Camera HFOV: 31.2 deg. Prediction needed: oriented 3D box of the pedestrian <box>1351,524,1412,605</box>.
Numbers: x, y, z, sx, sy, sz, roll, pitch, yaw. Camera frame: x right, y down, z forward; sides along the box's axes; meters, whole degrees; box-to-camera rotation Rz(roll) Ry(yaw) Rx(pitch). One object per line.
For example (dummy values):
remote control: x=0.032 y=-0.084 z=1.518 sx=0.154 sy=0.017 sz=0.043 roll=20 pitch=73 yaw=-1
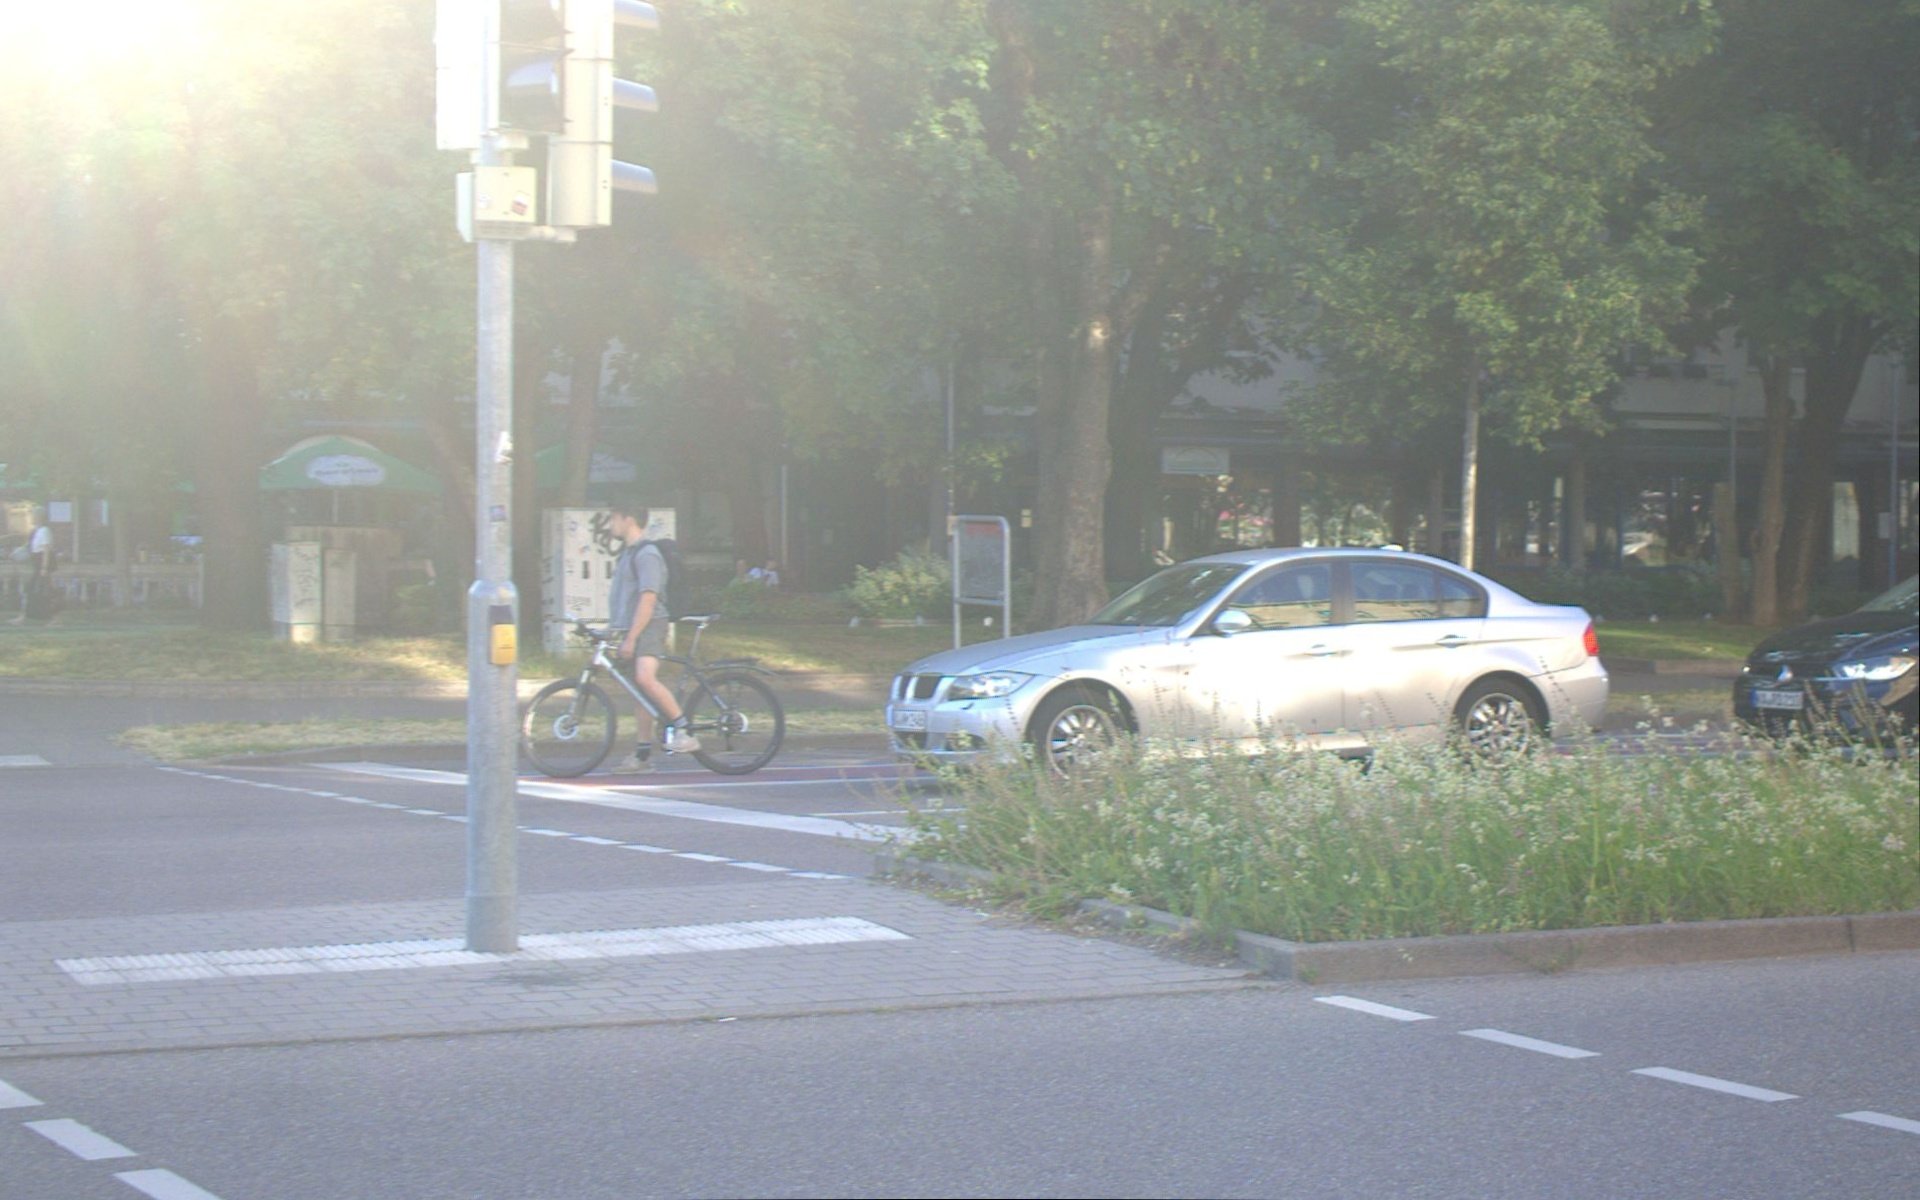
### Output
pedestrian: x=7.071 y=-0.601 z=57.643 sx=0.713 sy=1.335 sz=0.829 roll=0 pitch=1 yaw=-20

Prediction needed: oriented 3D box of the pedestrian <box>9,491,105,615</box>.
pedestrian: x=-12.803 y=-0.668 z=48.789 sx=1.211 sy=1.734 sz=0.895 roll=0 pitch=1 yaw=-7

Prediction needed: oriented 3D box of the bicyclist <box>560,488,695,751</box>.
bicyclist: x=-2.167 y=0.125 z=22.321 sx=0.836 sy=1.673 sz=0.784 roll=0 pitch=0 yaw=-8

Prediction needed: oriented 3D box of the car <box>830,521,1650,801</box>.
car: x=1.695 y=0.353 z=20.905 sx=4.533 sy=1.555 sz=2.000 roll=0 pitch=-1 yaw=-22

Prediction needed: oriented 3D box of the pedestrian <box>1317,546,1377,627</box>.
pedestrian: x=6.468 y=-0.229 z=57.428 sx=0.663 sy=1.335 sz=0.909 roll=0 pitch=1 yaw=-20

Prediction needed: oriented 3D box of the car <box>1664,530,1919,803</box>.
car: x=7.163 y=0.380 z=22.823 sx=4.533 sy=1.670 sz=2.001 roll=0 pitch=1 yaw=-22

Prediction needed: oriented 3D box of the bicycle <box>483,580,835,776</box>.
bicycle: x=-1.967 y=0.491 z=22.352 sx=2.241 sy=1.235 sz=0.778 roll=0 pitch=0 yaw=-8

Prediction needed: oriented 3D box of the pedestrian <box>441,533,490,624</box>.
pedestrian: x=-7.381 y=-0.325 z=51.285 sx=0.597 sy=1.335 sz=0.734 roll=0 pitch=1 yaw=-20
